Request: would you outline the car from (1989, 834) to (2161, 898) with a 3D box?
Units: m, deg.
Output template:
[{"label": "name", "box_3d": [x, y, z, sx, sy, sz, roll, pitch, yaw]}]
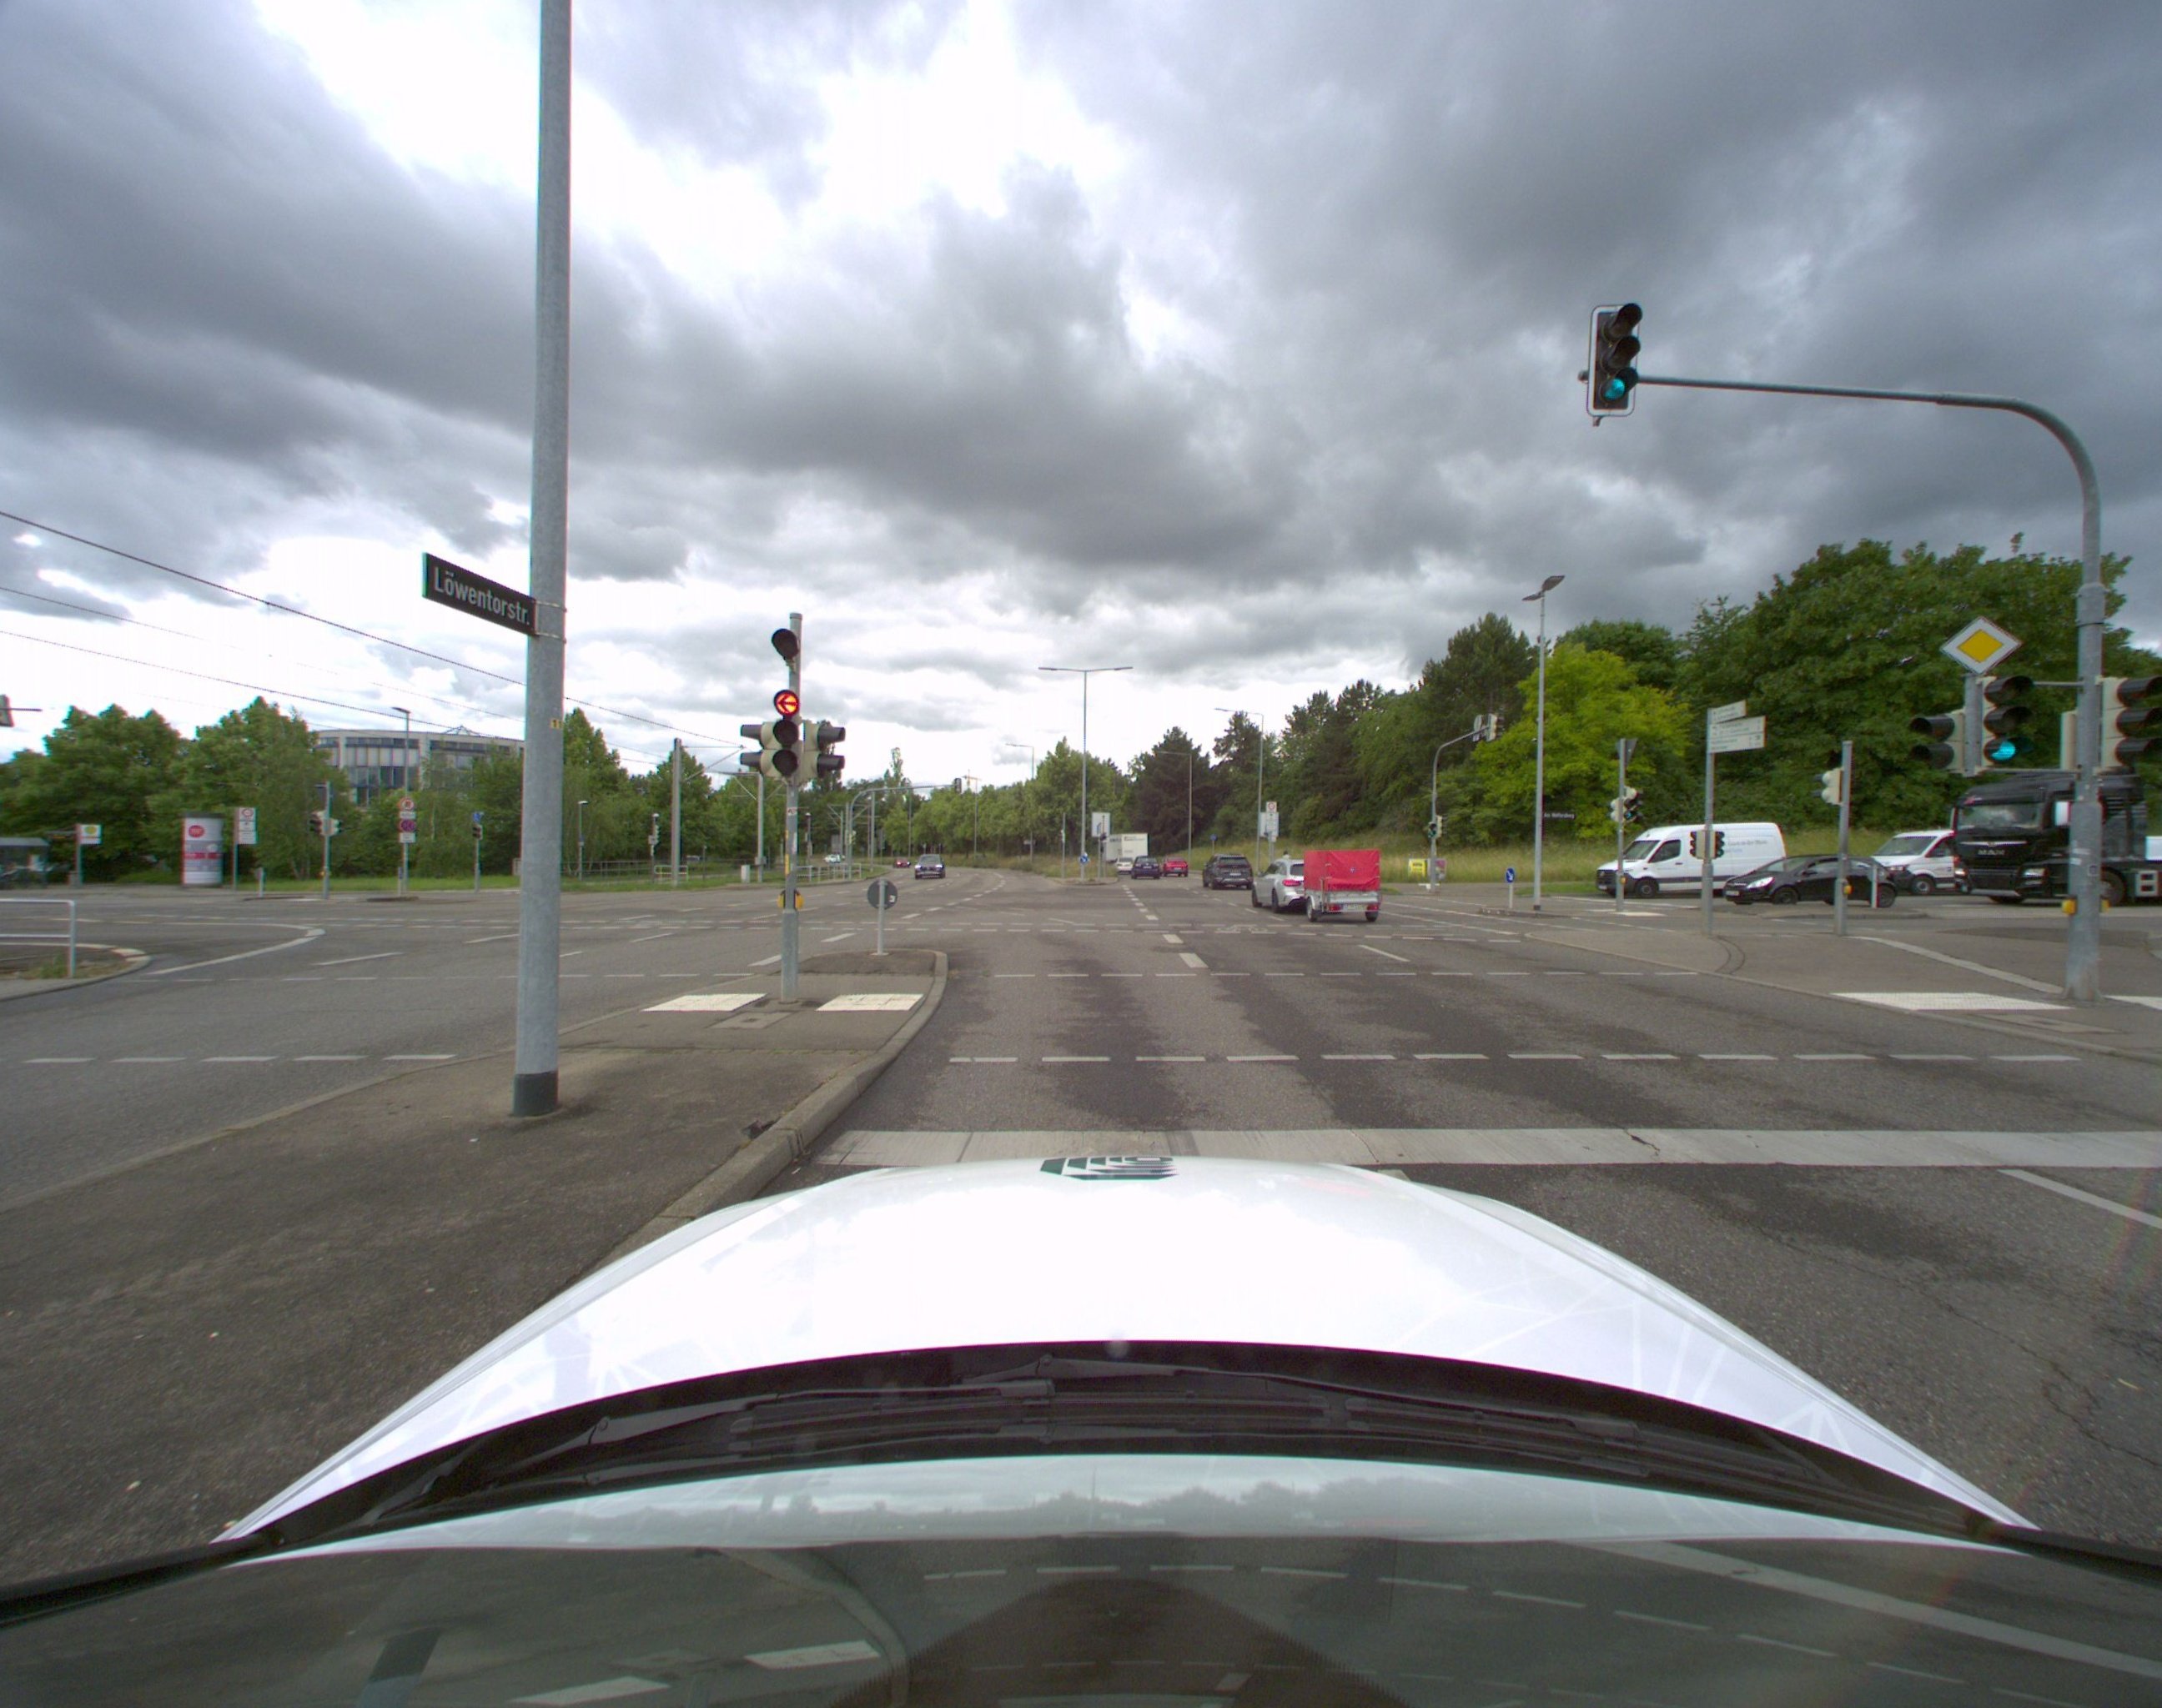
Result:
[{"label": "car", "box_3d": [32.226, 0.343, 25.703, 4.836, 1.896, 2.034, -1, 0, 1]}]

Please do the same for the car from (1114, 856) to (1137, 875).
[{"label": "car", "box_3d": [3.863, 0.967, 71.032, 1.772, 1.546, 4.025, 0, 0, 1]}]

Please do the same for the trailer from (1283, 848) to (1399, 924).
[{"label": "trailer", "box_3d": [5.917, 0.677, 18.878, 1.759, 1.616, 3.044, 0, 0, 0]}]

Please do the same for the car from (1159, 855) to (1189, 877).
[{"label": "car", "box_3d": [6.995, 0.867, 61.681, 1.772, 1.546, 4.023, 0, 0, -1]}]

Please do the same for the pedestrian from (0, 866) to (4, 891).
[{"label": "pedestrian", "box_3d": [-57.745, 1.296, 43.091, 0.774, 1.303, 0.666, 0, 0, 15]}]

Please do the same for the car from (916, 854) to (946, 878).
[{"label": "car", "box_3d": [-10.092, 0.765, 54.983, 1.777, 1.546, 4.214, 0, 0, -8]}]

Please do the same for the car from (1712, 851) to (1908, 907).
[{"label": "car", "box_3d": [20.278, 0.670, 22.766, 3.905, 1.436, 1.732, -1, 0, 1]}]

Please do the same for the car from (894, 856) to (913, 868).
[{"label": "car", "box_3d": [-23.599, 1.078, 108.142, 1.788, 1.443, 4.392, -1, 0, -22]}]

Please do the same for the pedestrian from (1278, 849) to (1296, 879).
[{"label": "pedestrian", "box_3d": [11.315, 0.557, 44.826, 0.811, 1.627, 0.791, 0, 0, 1]}]

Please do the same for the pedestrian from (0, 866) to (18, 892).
[{"label": "pedestrian", "box_3d": [-56.467, 1.313, 42.689, 0.774, 1.304, 0.666, 0, 0, 15]}]

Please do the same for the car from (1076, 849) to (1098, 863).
[{"label": "car", "box_3d": [0.732, 0.222, 97.754, 1.780, 1.546, 4.006, -1, 0, -13]}]

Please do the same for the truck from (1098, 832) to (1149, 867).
[{"label": "truck", "box_3d": [4.215, -0.443, 83.538, 2.740, 3.328, 11.367, 0, 0, -10]}]

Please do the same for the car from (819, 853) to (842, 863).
[{"label": "car", "box_3d": [-44.355, 0.649, 143.887, 4.369, 1.629, 1.846, -1, 0, 41]}]

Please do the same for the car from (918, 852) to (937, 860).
[{"label": "car", "box_3d": [-33.555, 0.407, 177.931, 1.761, 1.546, 4.050, 0, 0, 32]}]

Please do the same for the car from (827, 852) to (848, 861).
[{"label": "car", "box_3d": [-49.996, 0.526, 167.221, 3.948, 1.750, 2.013, 0, 0, 34]}]

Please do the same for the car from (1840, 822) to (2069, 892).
[{"label": "car", "box_3d": [30.681, 0.111, 28.757, 5.677, 2.289, 2.136, -1, 0, 2]}]

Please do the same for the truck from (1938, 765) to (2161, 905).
[{"label": "truck", "box_3d": [27.933, -0.514, 22.263, 6.027, 3.538, 2.729, -1, 0, 2]}]

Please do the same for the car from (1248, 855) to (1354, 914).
[{"label": "car", "box_3d": [5.967, 0.773, 22.625, 1.772, 1.421, 4.459, 0, 0, 1]}]

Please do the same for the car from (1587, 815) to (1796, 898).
[{"label": "car", "box_3d": [21.896, 0.096, 29.402, 5.870, 2.781, 2.136, -1, 0, 2]}]

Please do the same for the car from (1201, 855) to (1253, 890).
[{"label": "car", "box_3d": [6.744, 0.820, 37.969, 1.772, 1.546, 4.025, 0, 0, 1]}]

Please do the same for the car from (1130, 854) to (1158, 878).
[{"label": "car", "box_3d": [4.290, 0.792, 54.847, 1.769, 1.546, 4.032, 0, 0, 6]}]
